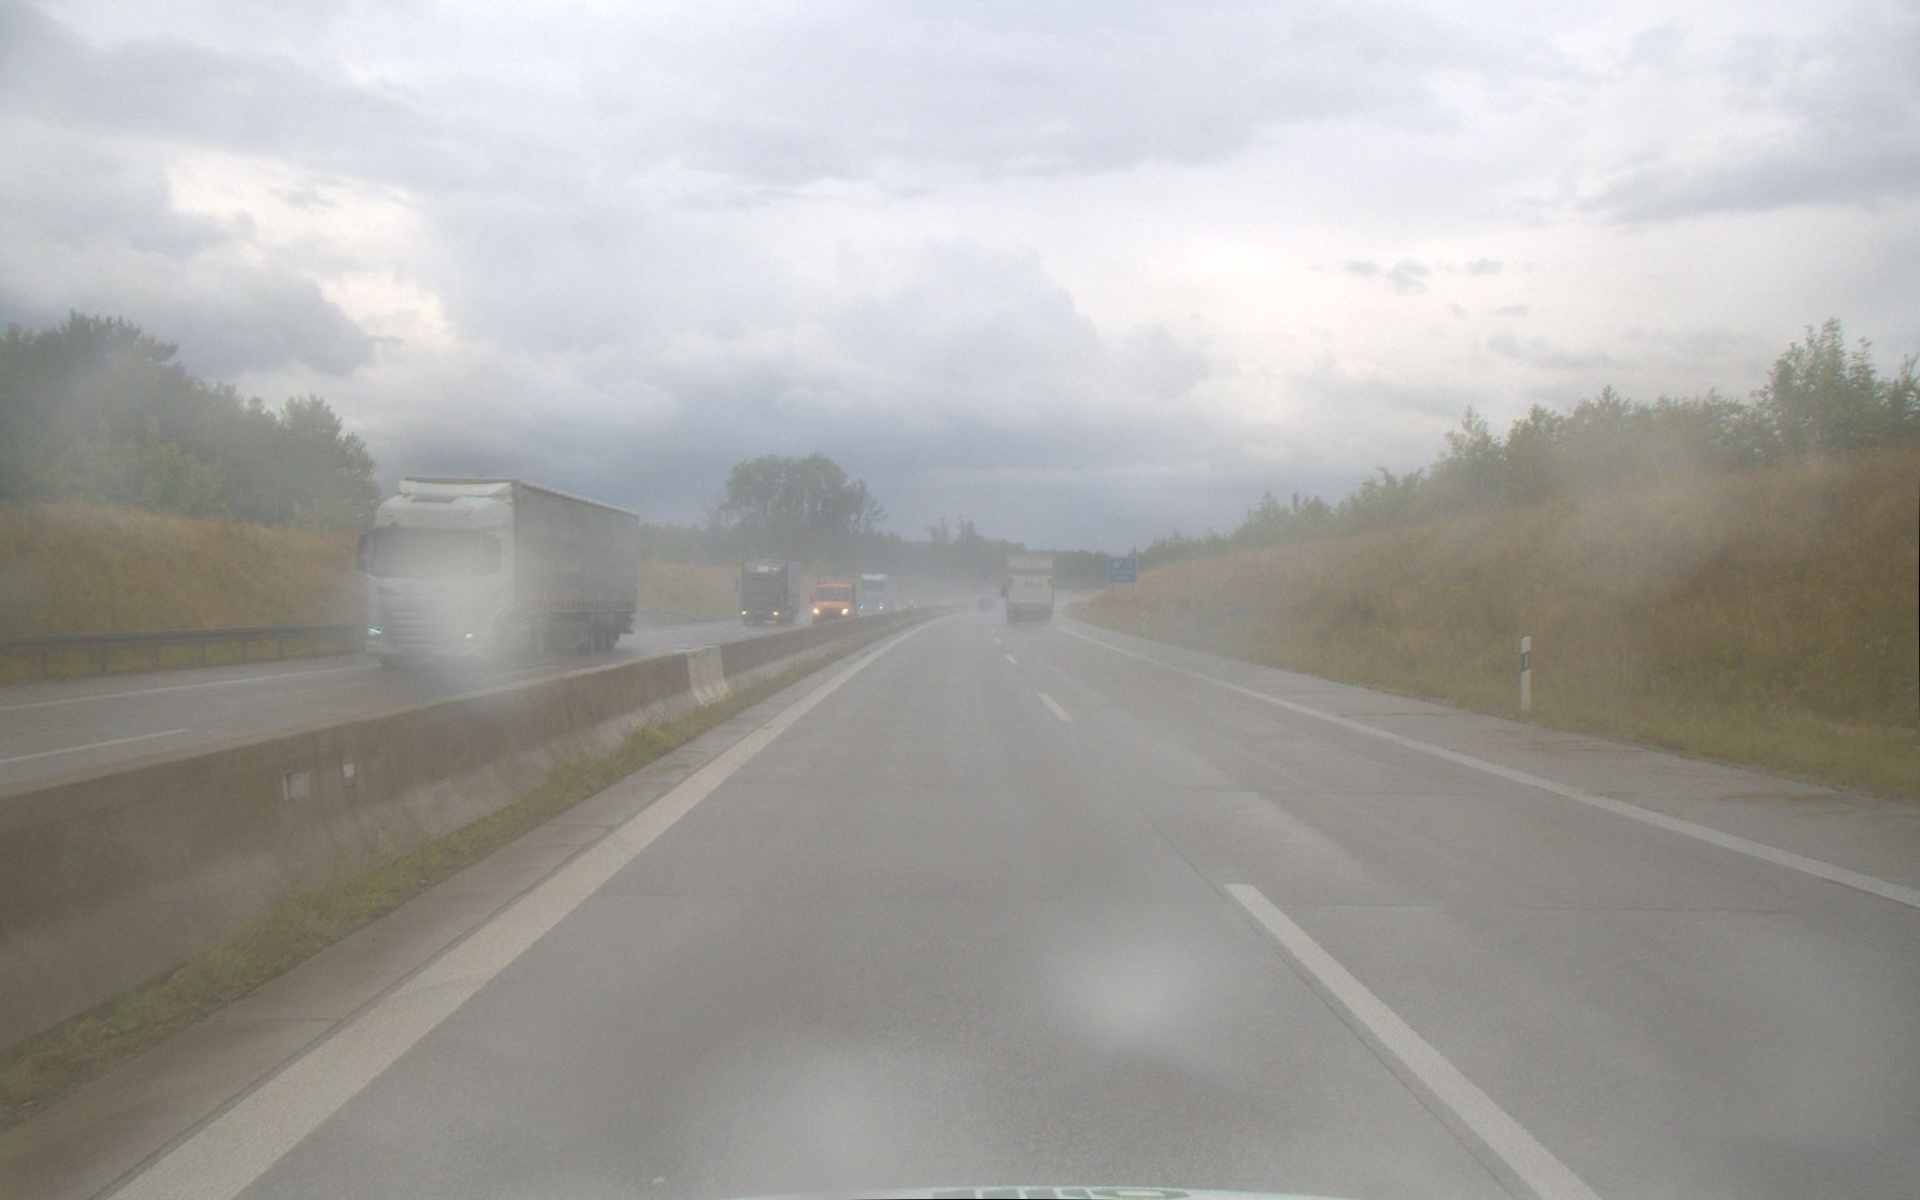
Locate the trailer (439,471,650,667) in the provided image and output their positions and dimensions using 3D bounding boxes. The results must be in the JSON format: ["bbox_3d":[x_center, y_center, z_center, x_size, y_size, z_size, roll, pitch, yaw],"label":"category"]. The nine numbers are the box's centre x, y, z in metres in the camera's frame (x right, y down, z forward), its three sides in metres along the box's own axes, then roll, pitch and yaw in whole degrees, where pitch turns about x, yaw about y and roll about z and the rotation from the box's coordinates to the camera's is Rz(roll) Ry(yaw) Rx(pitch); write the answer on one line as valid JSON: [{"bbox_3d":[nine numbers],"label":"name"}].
[{"bbox_3d":[-10.949,-0.747,45.028,2.789,4.599,11.338,1,0,0],"label":"trailer"}]

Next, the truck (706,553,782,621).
[{"bbox_3d":[-12.028,-0.704,92.902,3.103,3.595,8.365,0,0,0],"label":"truck"}]

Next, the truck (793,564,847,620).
[{"bbox_3d":[-7.270,-0.408,86.717,2.285,2.830,6.161,0,0,0],"label":"truck"}]

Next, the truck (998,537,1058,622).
[{"bbox_3d":[3.792,-1.169,92.415,3.176,4.514,8.249,0,1,2],"label":"truck"}]

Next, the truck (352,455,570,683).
[{"bbox_3d":[-10.933,-0.638,36.946,2.763,4.599,6.625,1,0,0],"label":"truck"}]
